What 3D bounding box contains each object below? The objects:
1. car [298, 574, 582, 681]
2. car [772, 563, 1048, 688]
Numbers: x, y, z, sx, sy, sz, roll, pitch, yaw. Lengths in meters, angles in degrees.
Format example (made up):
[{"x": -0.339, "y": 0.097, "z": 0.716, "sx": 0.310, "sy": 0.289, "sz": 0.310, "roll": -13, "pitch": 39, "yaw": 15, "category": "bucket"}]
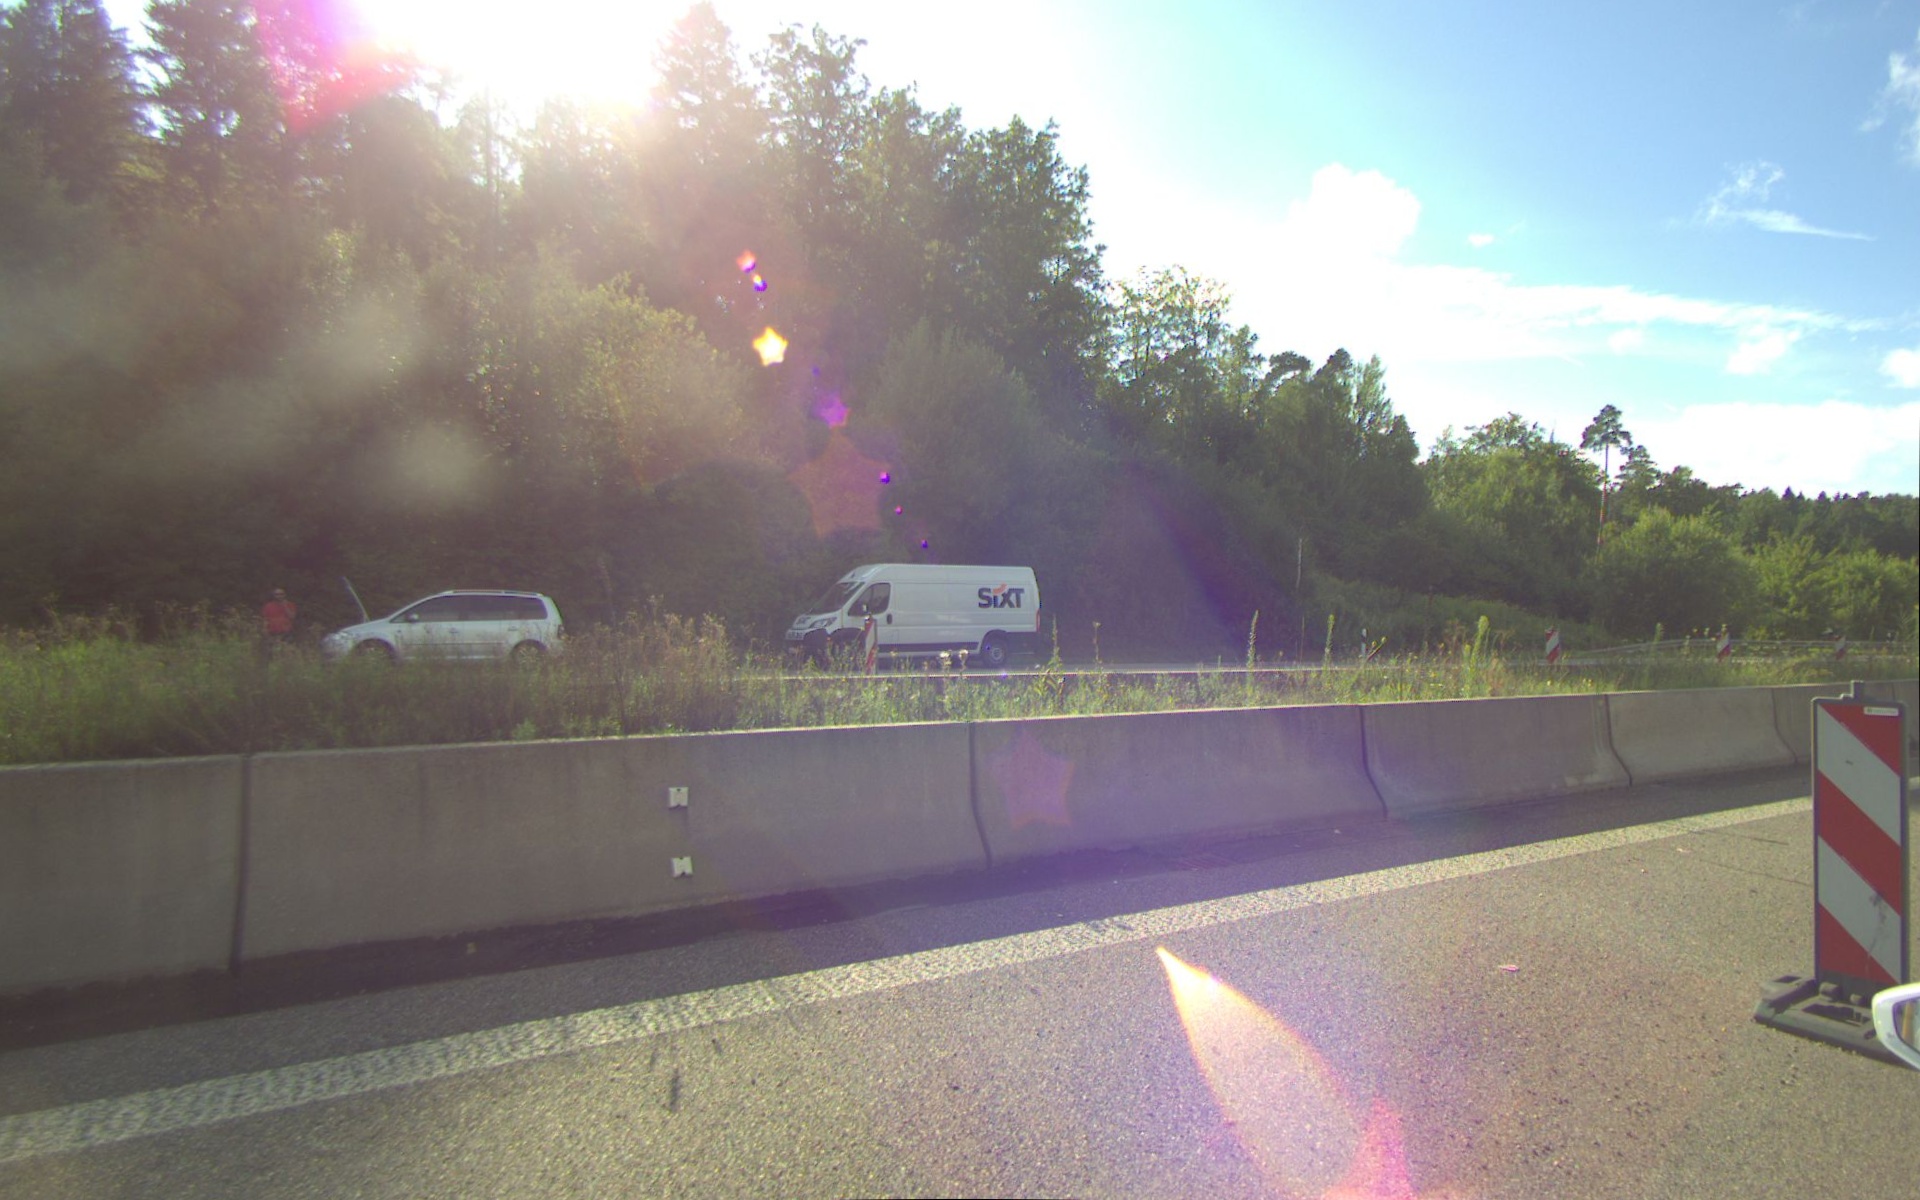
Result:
[{"x": -10.050, "y": 0.552, "z": 19.662, "sx": 4.707, "sy": 1.878, "sz": 1.851, "roll": 2, "pitch": -1, "yaw": -31, "category": "car"}, {"x": -1.099, "y": 0.634, "z": 24.339, "sx": 6.447, "sy": 2.720, "sz": 2.018, "roll": 2, "pitch": -1, "yaw": -31, "category": "car"}]
